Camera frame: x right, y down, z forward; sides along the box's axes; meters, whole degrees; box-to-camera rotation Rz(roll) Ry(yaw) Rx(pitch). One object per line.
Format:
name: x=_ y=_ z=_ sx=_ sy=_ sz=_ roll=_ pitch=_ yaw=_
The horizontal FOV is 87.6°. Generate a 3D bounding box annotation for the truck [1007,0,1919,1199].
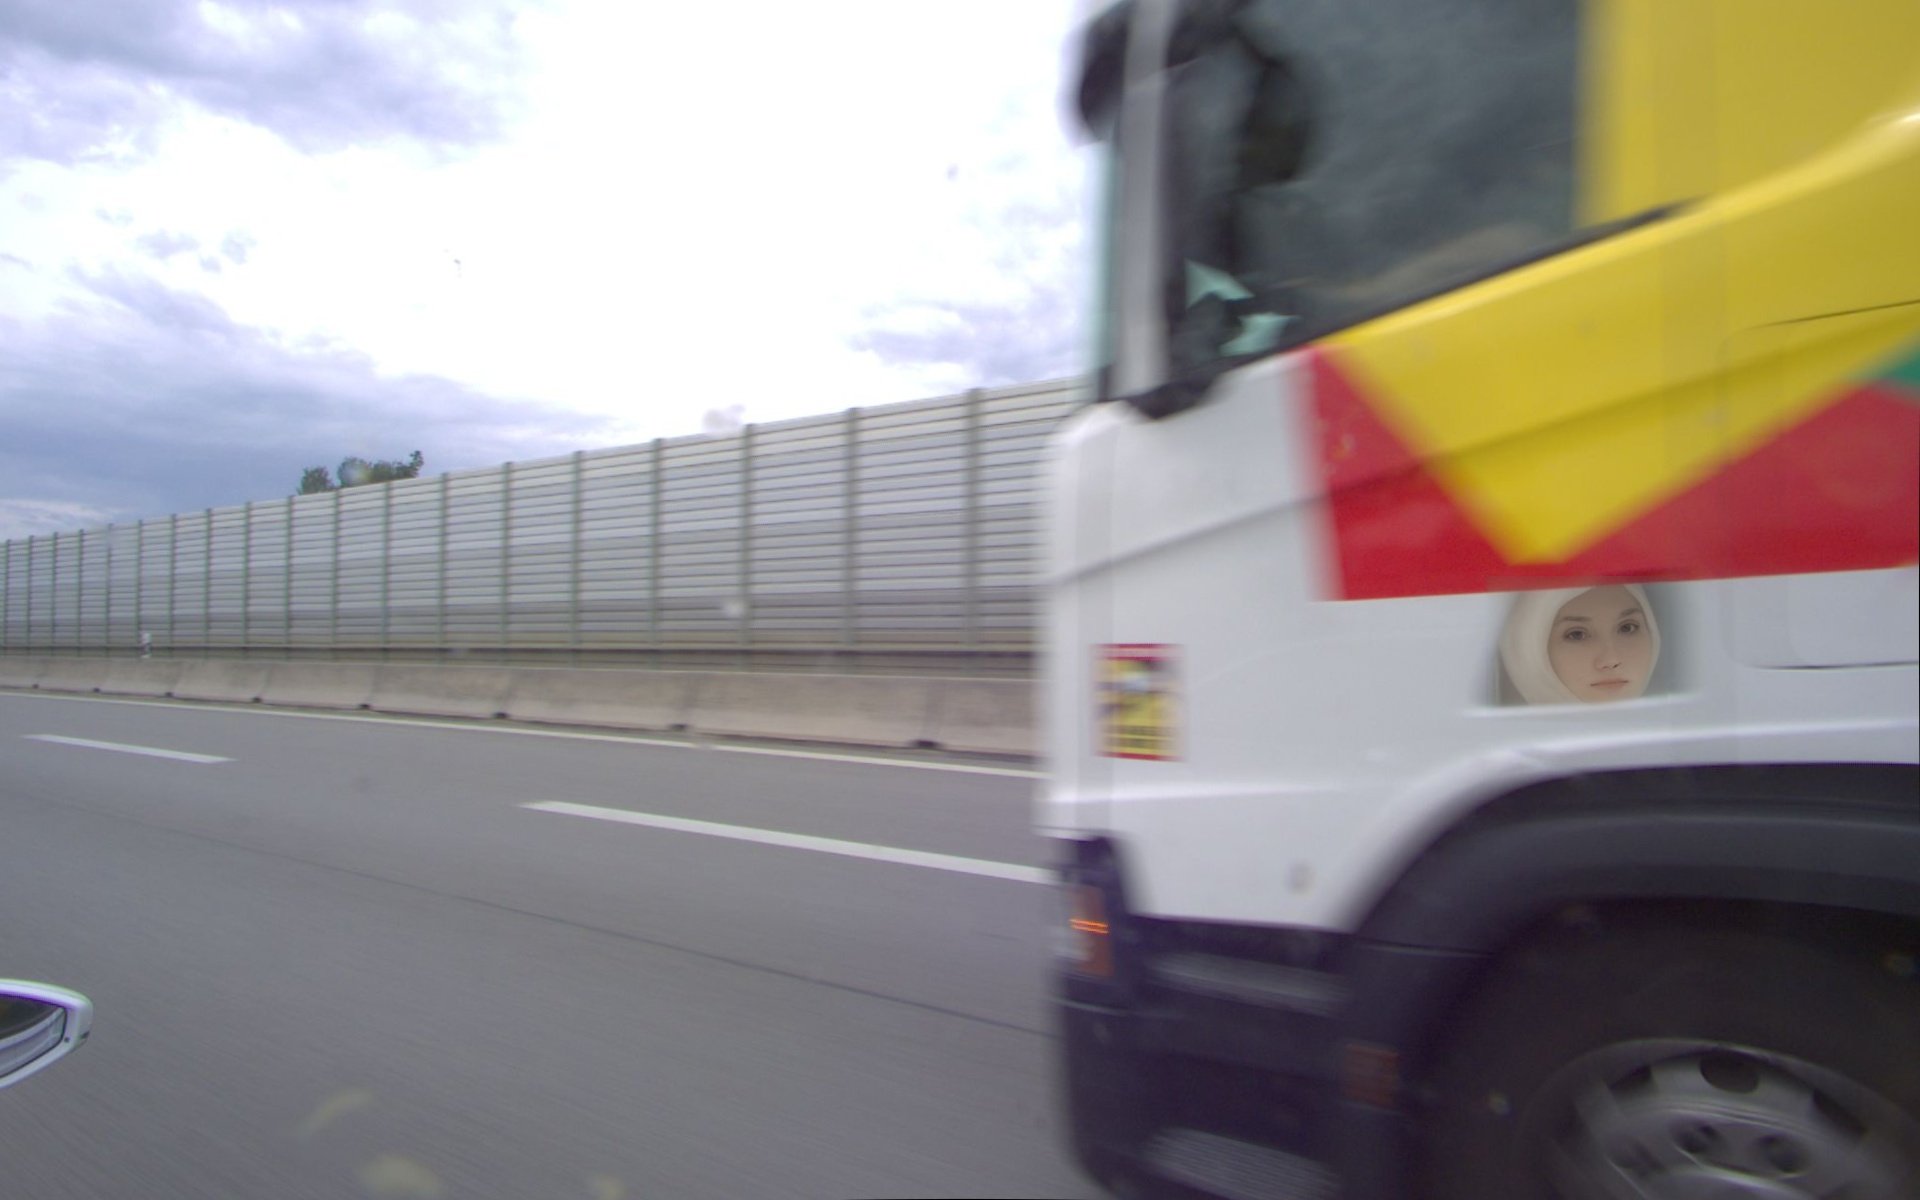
truck: x=3.180 y=-0.547 z=1.791 sx=5.597 sy=4.011 sz=2.750 roll=0 pitch=-1 yaw=33
